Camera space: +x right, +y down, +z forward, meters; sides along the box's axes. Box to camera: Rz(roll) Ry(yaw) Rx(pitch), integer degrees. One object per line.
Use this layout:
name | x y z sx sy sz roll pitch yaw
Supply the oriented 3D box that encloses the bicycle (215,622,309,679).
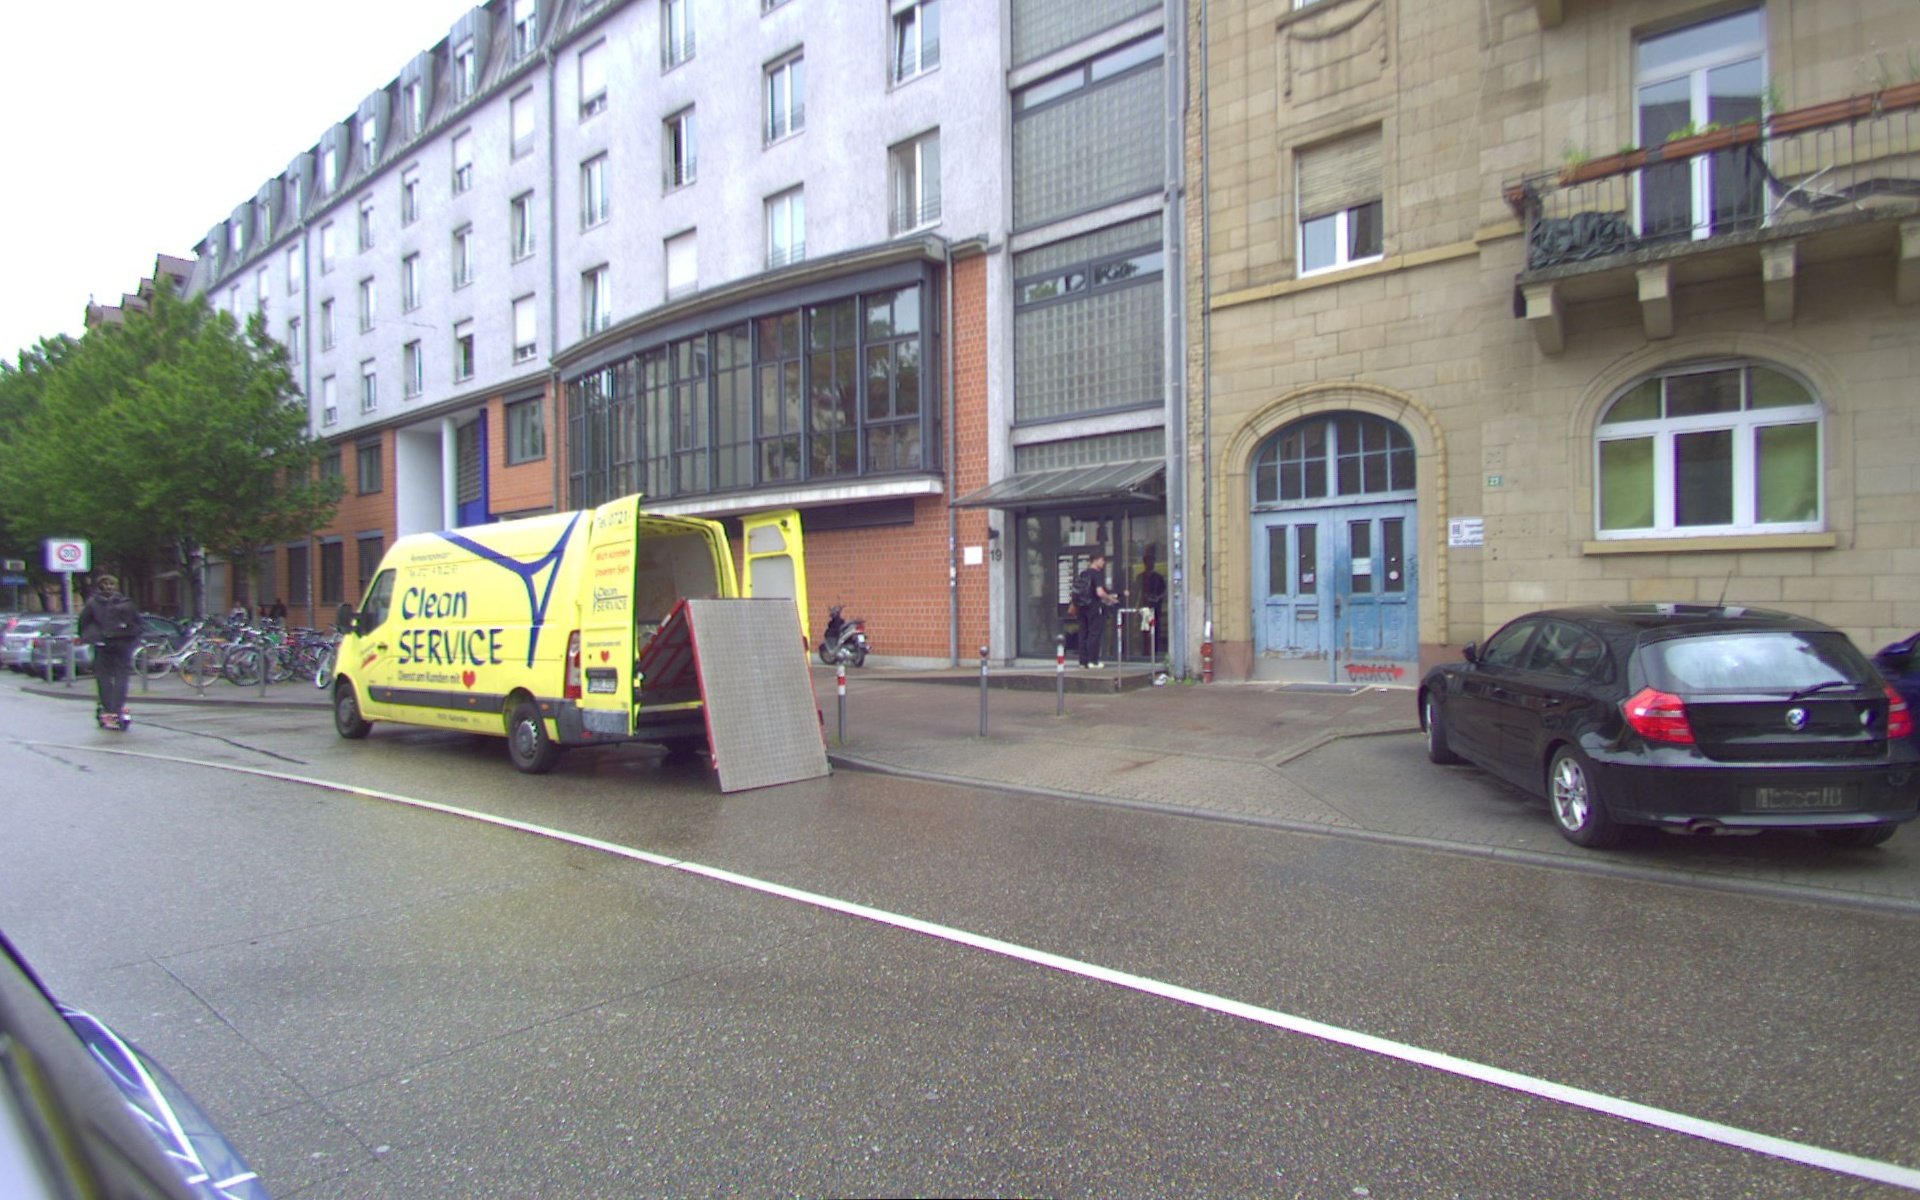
bicycle | -14.932 1.060 21.682 0.517 1.114 1.596 -1 1 27

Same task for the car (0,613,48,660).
car | -33.053 1.269 34.567 1.138 1.567 2.672 -1 0 11

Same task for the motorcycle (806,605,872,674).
motorcycle | -2.235 0.688 18.480 0.516 1.190 1.763 -1 0 -30

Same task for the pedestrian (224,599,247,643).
pedestrian | -26.929 0.776 37.618 0.372 1.622 0.598 -1 -1 39

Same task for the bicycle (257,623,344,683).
bicycle | -13.273 1.054 20.384 1.439 1.111 0.462 -2 1 -36

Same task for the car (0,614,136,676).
car | -24.247 1.183 27.364 1.432 1.514 3.078 -1 0 0

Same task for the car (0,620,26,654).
car | -43.498 1.625 44.557 1.662 1.502 3.798 0 -1 -10

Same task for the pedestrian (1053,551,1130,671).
pedestrian | 1.983 0.165 15.205 0.785 1.741 0.997 -1 -1 31

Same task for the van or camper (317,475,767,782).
van or camper | -4.935 0.300 11.399 5.936 2.631 2.174 -1 -2 40

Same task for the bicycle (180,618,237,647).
bicycle | -26.576 1.142 35.819 0.464 0.992 1.573 -1 -1 32

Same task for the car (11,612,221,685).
car | -19.848 1.083 24.003 1.720 1.514 3.614 0 0 9

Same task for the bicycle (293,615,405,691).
bicycle | -11.215 0.944 18.670 0.760 1.225 1.917 0 3 5

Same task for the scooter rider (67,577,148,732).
scooter rider | -11.100 0.690 13.183 0.503 1.950 0.704 -1 -2 38

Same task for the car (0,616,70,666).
car | -29.071 1.251 31.125 1.177 1.461 2.502 -1 0 0

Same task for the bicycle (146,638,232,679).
bicycle | -17.128 1.288 22.499 0.497 0.811 1.454 -1 1 43

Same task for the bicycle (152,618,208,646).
bicycle | -28.526 1.147 37.033 0.464 0.992 1.573 -1 -1 32

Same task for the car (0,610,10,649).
car | -48.713 1.442 48.844 1.666 1.910 4.330 0 -1 -1

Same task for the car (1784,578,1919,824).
car | 6.922 0.635 5.729 1.780 1.585 4.029 -1 -1 11

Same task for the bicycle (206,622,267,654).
bicycle | -23.823 1.246 33.341 0.444 0.992 1.573 -1 -1 32

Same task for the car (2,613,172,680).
car | -22.148 1.141 25.812 1.436 1.514 3.070 -1 0 9

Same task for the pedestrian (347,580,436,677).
pedestrian | -11.949 0.580 21.275 1.054 1.894 1.213 -1 3 40

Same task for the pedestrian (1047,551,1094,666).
pedestrian | 1.720 0.139 15.803 0.467 1.761 0.608 0 -1 -24

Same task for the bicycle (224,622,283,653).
bicycle | -23.840 1.256 34.168 0.444 0.992 1.573 -1 -1 32

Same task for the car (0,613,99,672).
car | -26.665 1.187 28.969 1.432 1.564 3.078 -1 0 0

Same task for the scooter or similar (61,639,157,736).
scooter or similar | -11.079 1.104 13.163 1.383 1.174 0.694 -1 -1 39

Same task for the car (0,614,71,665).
car | -30.943 1.282 32.794 1.358 1.567 2.971 -1 0 11

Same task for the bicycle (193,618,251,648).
bicycle | -25.618 1.139 35.150 0.444 0.992 1.573 -1 -1 32

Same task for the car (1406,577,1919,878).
car | 4.744 0.675 7.181 1.777 1.523 4.034 0 -1 7

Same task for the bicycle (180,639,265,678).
bicycle | -16.349 1.284 22.452 0.497 0.727 1.454 -1 1 43

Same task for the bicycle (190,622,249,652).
bicycle | -25.281 1.249 34.582 0.444 0.992 1.573 -1 -1 32

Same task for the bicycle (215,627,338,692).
bicycle | -12.787 1.086 18.972 1.832 1.081 0.610 -2 1 -45

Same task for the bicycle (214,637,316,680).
bicycle | -14.498 1.214 21.171 0.455 0.767 1.757 -1 1 27

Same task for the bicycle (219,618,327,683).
bicycle | -14.062 1.007 20.781 0.517 1.203 1.798 -1 1 27

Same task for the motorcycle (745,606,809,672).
motorcycle | -3.523 0.718 19.313 0.516 1.190 2.010 -1 0 -30

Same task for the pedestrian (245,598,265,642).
pedestrian | -26.294 0.738 37.746 0.425 1.622 0.508 -1 -1 41

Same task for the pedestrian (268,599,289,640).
pedestrian | -26.077 0.759 38.721 0.547 1.541 0.509 -1 -2 37

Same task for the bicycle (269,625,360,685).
bicycle | -12.671 1.062 19.898 0.418 1.072 1.442 -1 1 44

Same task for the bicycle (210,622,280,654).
bicycle | -23.382 1.246 33.130 0.444 0.992 1.831 -1 -1 32

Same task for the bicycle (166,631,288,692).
bicycle | -13.789 1.134 19.077 0.519 1.000 1.778 -1 1 38

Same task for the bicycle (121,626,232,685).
bicycle | -16.582 1.144 21.461 0.472 1.114 1.791 -1 1 35

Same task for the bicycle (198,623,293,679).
bicycle | -15.513 1.085 21.995 0.519 1.114 1.591 -1 1 35
